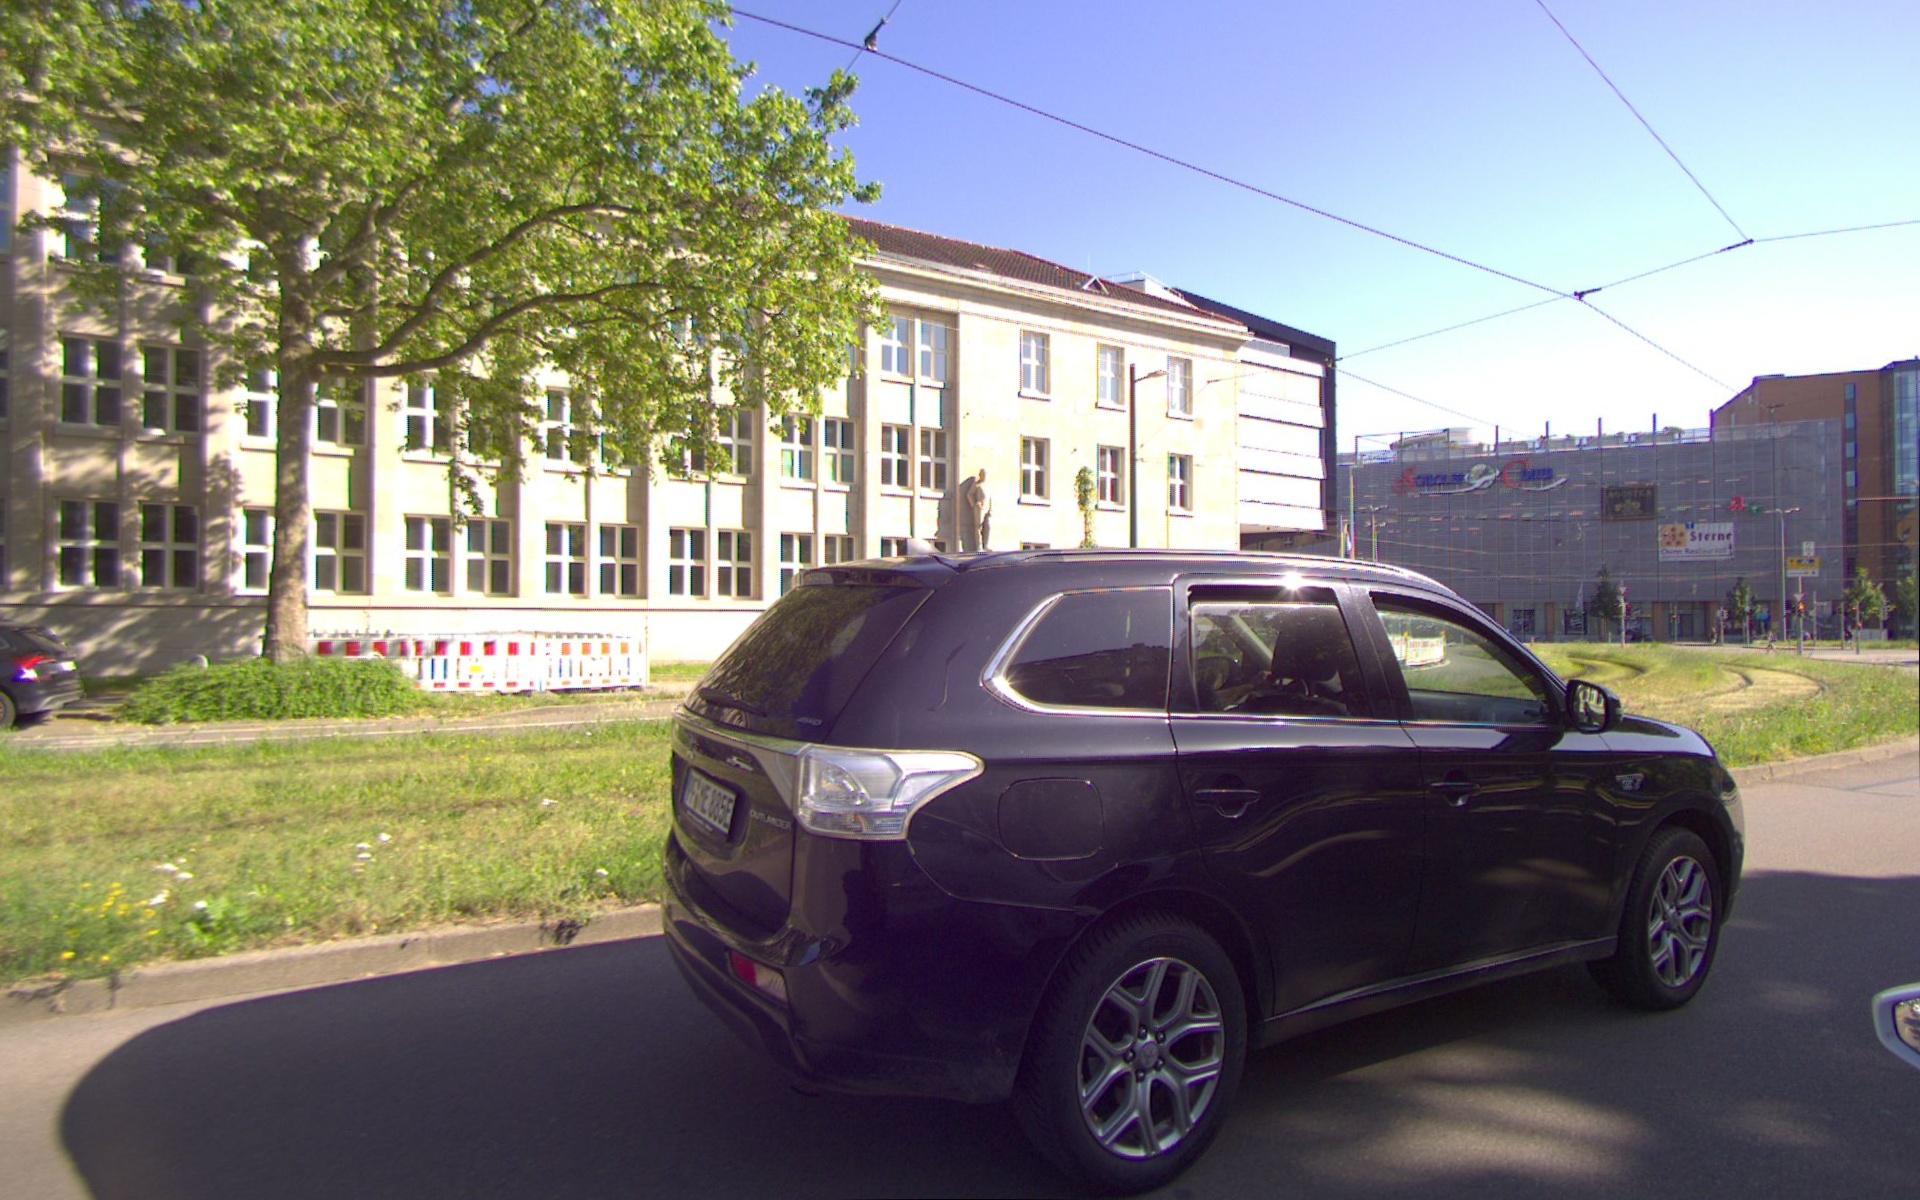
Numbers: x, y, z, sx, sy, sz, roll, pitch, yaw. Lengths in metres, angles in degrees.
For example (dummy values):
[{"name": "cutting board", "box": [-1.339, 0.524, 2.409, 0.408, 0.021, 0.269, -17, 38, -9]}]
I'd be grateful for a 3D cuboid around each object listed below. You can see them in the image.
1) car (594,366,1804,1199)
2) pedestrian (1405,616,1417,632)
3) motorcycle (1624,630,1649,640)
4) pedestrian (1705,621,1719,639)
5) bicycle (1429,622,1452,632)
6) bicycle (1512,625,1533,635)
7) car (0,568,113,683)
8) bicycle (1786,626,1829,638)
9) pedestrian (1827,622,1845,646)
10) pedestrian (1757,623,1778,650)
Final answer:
[{"name": "car", "box": [1.134, 0.448, 3.951, 4.587, 1.704, 1.828, 2, 0, -29]}, {"name": "pedestrian", "box": [52.348, 2.791, 116.555, 0.810, 1.893, 0.900, 1, 0, -25]}, {"name": "motorcycle", "box": [75.879, 3.934, 112.654, 2.167, 1.056, 1.061, 2, 0, 23]}, {"name": "pedestrian", "box": [74.210, 2.924, 99.091, 0.839, 1.761, 0.754, 1, 0, 16]}, {"name": "bicycle", "box": [54.960, 3.103, 114.878, 2.209, 1.085, 1.042, 1, 0, -18]}, {"name": "bicycle", "box": [65.478, 3.490, 116.888, 1.993, 1.073, 1.144, 1, 0, 22]}, {"name": "car", "box": [-14.224, 0.331, 13.398, 4.130, 1.512, 1.822, 1, -2, -29]}, {"name": "bicycle", "box": [90.383, 3.434, 107.109, 3.310, 1.092, 1.115, 2, 0, 29]}, {"name": "pedestrian", "box": [66.796, 2.590, 76.577, 0.793, 1.731, 0.761, 1, 0, 22]}, {"name": "pedestrian", "box": [52.830, 2.401, 65.704, 0.871, 1.730, 0.712, 1, 0, 22]}]
